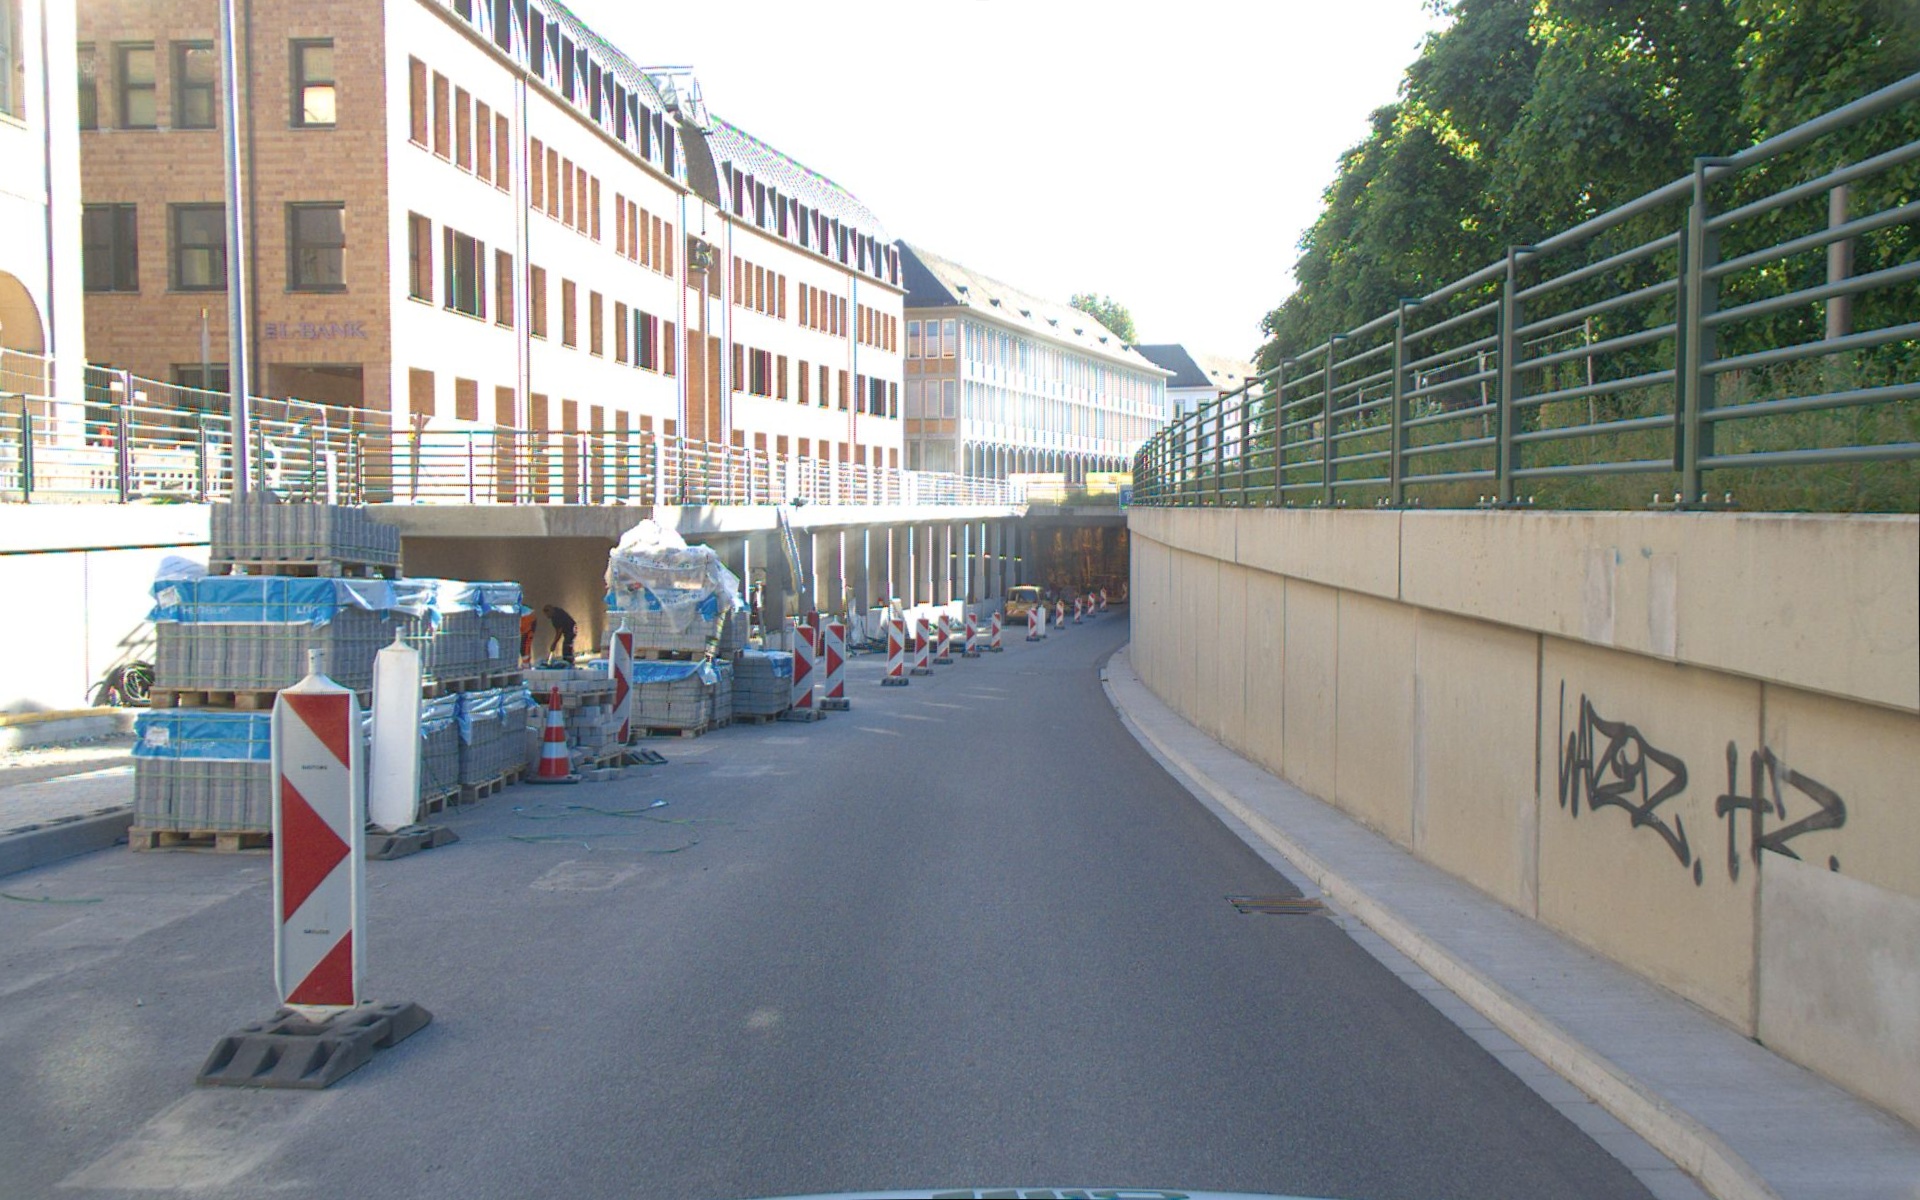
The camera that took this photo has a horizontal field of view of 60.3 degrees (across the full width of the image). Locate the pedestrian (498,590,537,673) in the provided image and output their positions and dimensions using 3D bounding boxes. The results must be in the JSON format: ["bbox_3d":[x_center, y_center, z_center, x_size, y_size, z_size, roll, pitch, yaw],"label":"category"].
[{"bbox_3d":[-8.684,0.619,32.475,0.636,1.607,0.630,0,0,-4],"label":"pedestrian"}]

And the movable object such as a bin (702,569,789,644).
[{"bbox_3d":[-6.071,0.151,47.065,1.846,2.021,3.160,1,1,4],"label":"movable object such as a bin"}]

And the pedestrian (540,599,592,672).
[{"bbox_3d":[-7.724,0.684,32.452,0.854,1.422,0.783,0,0,-3],"label":"pedestrian"}]

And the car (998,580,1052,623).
[{"bbox_3d":[3.113,0.052,78.396,1.808,1.806,4.439,1,3,11],"label":"car"}]

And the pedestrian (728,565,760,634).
[{"bbox_3d":[-5.886,-0.021,45.067,0.643,1.836,0.625,2,0,14],"label":"pedestrian"}]

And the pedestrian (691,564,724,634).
[{"bbox_3d":[-6.755,-0.029,44.256,0.689,1.846,0.710,2,0,4],"label":"pedestrian"}]
